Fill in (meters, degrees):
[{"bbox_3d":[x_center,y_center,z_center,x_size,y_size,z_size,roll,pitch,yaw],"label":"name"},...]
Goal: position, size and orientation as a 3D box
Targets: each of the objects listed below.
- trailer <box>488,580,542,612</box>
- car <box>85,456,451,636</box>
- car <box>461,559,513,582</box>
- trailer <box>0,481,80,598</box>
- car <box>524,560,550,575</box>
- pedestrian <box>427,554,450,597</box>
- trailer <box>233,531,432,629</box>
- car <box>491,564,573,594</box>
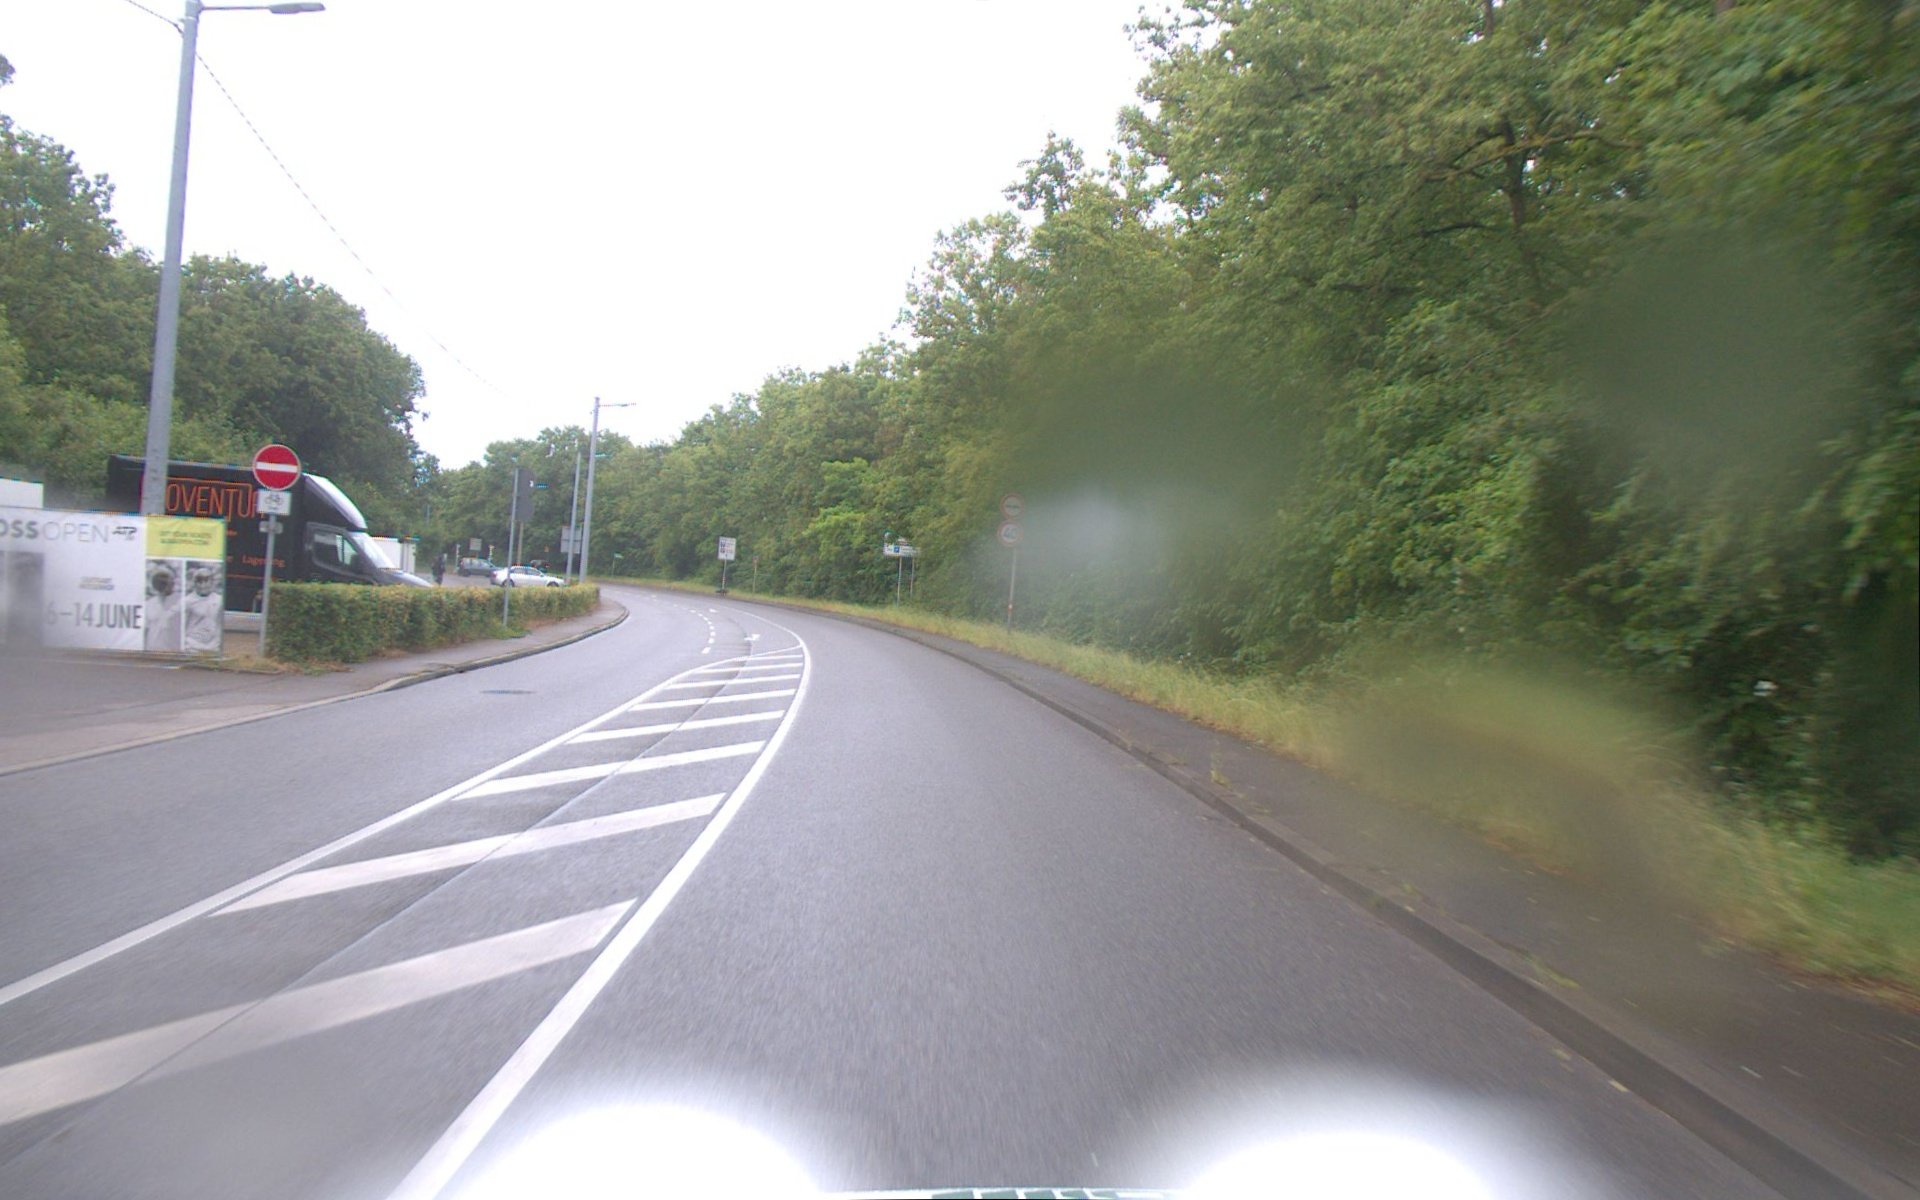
[{"bbox_3d":[-15.938,-0.151,59.237,1.770,1.052,1.329,3,0,-14],"label":"trailer"},{"bbox_3d":[-13.686,-1.003,33.230,6.158,3.168,2.745,3,-1,-10],"label":"car"},{"bbox_3d":[-40.900,-2.515,143.030,4.226,1.738,1.989,3,0,-19],"label":"car"},{"bbox_3d":[-25.432,-1.556,42.557,2.431,2.924,7.959,2,0,-10],"label":"trailer"},{"bbox_3d":[-46.478,-3.576,181.611,1.912,1.524,4.281,2,1,-27],"label":"car"},{"bbox_3d":[-22.577,-1.050,71.659,0.803,1.829,1.131,2,0,-15],"label":"pedestrian"},{"bbox_3d":[-14.575,-0.454,38.594,3.911,2.088,1.870,2,0,-7],"label":"trailer"},{"bbox_3d":[-25.729,-1.260,99.501,4.511,1.532,1.987,3,0,-22],"label":"car"}]
